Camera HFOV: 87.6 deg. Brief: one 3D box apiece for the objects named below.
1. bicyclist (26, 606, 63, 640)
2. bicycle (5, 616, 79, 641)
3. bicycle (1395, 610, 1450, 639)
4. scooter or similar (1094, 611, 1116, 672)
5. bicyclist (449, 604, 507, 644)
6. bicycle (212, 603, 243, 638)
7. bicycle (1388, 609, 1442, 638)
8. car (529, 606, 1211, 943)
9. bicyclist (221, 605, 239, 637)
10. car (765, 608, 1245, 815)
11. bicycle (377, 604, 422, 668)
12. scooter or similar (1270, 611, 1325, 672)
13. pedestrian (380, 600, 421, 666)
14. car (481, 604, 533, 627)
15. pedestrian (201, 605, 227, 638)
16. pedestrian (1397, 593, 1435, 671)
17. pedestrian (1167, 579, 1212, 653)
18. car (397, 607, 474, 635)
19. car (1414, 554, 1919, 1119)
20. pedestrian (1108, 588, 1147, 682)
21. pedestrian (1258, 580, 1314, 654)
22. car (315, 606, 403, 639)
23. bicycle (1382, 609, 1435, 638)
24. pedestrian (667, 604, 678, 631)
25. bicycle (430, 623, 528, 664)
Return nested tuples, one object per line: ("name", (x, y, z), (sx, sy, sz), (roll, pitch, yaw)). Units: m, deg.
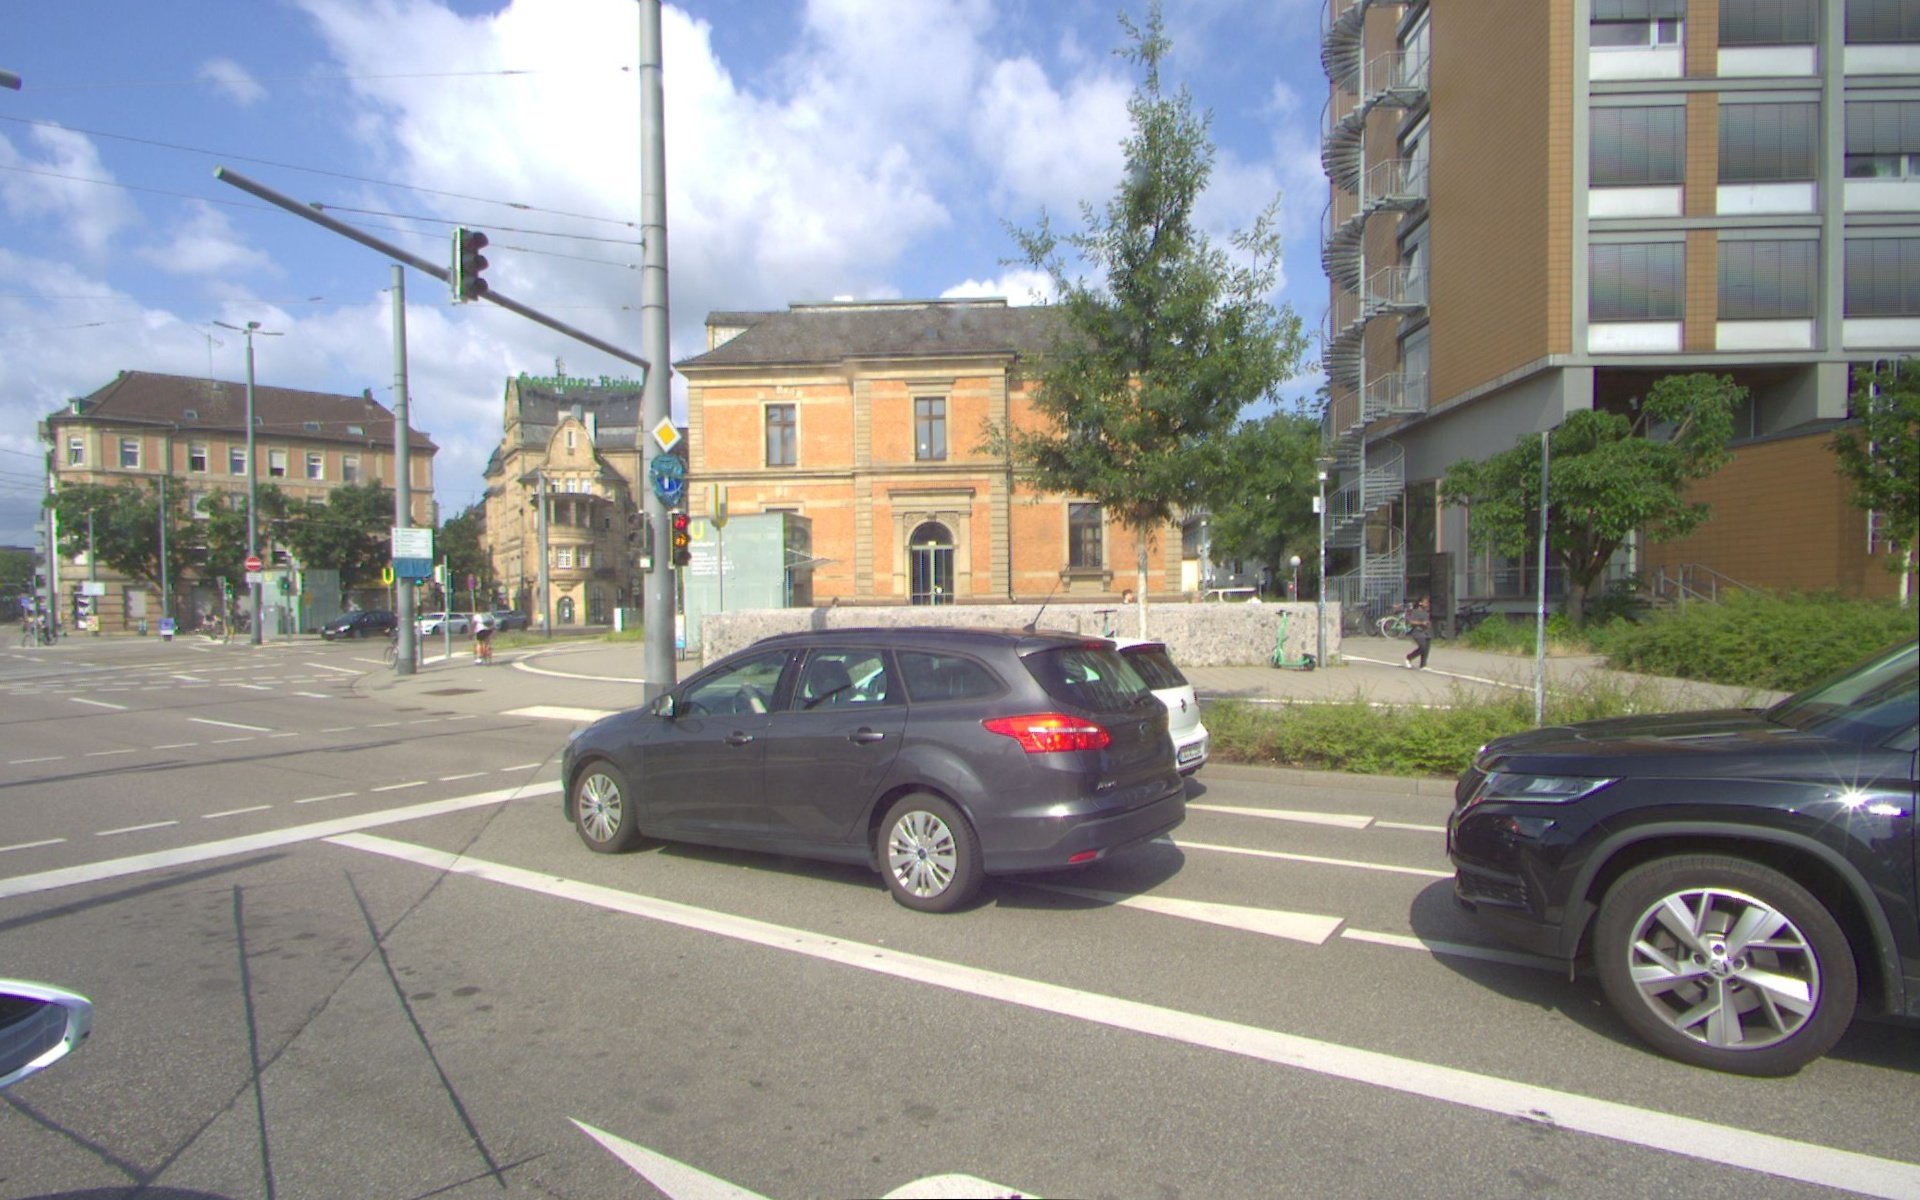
("bicyclist", (-46.952, 1.169, 51.357), (0.774, 1.680, 1.192), (0, 1, 30))
("bicycle", (-47.021, 1.435, 51.319), (0.887, 1.186, 2.668), (0, 0, 29))
("bicycle", (14.828, 0.783, 32.107), (1.520, 0.916, 0.459), (-1, 0, 5))
("scooter or similar", (2.995, 0.848, 20.758), (0.395, 1.212, 1.186), (-1, 1, 6))
("bicyclist", (-13.559, 0.680, 28.175), (1.198, 1.040, 0.989), (-4, -4, 32))
("bicycle", (-39.002, 1.079, 53.310), (1.612, 1.801, 0.728), (0, 1, 29))
("bicycle", (14.882, 0.768, 32.749), (1.520, 0.916, 0.459), (-1, 0, 5))
("car", (-0.698, 0.839, 6.470), (4.194, 1.548, 1.764), (-1, -1, 32))
("bicyclist", (-38.819, 1.132, 53.246), (0.646, 1.693, 0.571), (0, 1, 29))
("car", (0.317, 0.890, 9.337), (4.172, 1.464, 1.676), (1, -2, 34))
("bicycle", (-16.190, 1.033, 28.891), (0.995, 1.747, 2.455), (1, -2, -32))
("scooter or similar", (6.676, 0.806, 19.849), (0.396, 1.146, 1.184), (-1, 1, -19))
("pedestrian", (-16.163, 0.951, 28.924), (0.982, 1.865, 0.990), (1, -1, -32))
("car", (-33.769, 1.154, 74.776), (1.721, 1.621, 3.999), (-1, 0, 7))
("pedestrian", (-42.442, 1.226, 56.955), (0.872, 1.833, 0.866), (-1, -1, 21))
("pedestrian", (9.181, 0.637, 20.157), (0.573, 1.541, 0.476), (-1, 1, 36))
("pedestrian", (5.167, 0.348, 22.520), (0.754, 1.610, 0.768), (0, 4, 32))
("car", (-32.056, 1.249, 61.368), (1.961, 1.617, 4.683), (0, 0, 6))
("car", (4.172, 0.691, 3.345), (4.617, 1.690, 1.990), (-2, -1, 32))
("pedestrian", (3.775, 0.780, 22.631), (0.792, 2.041, 0.724), (-2, 2, 9))
("pedestrian", (7.401, 0.373, 22.737), (0.753, 1.610, 0.934), (-3, 3, -27))
("car", (-32.911, 1.284, 55.014), (1.961, 1.761, 4.343), (0, -2, 5))
("bicycle", (14.946, 0.790, 33.379), (1.520, 0.916, 0.459), (-1, 0, 5))
("pedestrian", (-16.131, 0.973, 56.229), (0.497, 1.525, 0.499), (-1, 1, -2))
("bicycle", (-13.539, 1.244, 28.153), (3.066, 1.040, 0.991), (-4, -4, 32))
